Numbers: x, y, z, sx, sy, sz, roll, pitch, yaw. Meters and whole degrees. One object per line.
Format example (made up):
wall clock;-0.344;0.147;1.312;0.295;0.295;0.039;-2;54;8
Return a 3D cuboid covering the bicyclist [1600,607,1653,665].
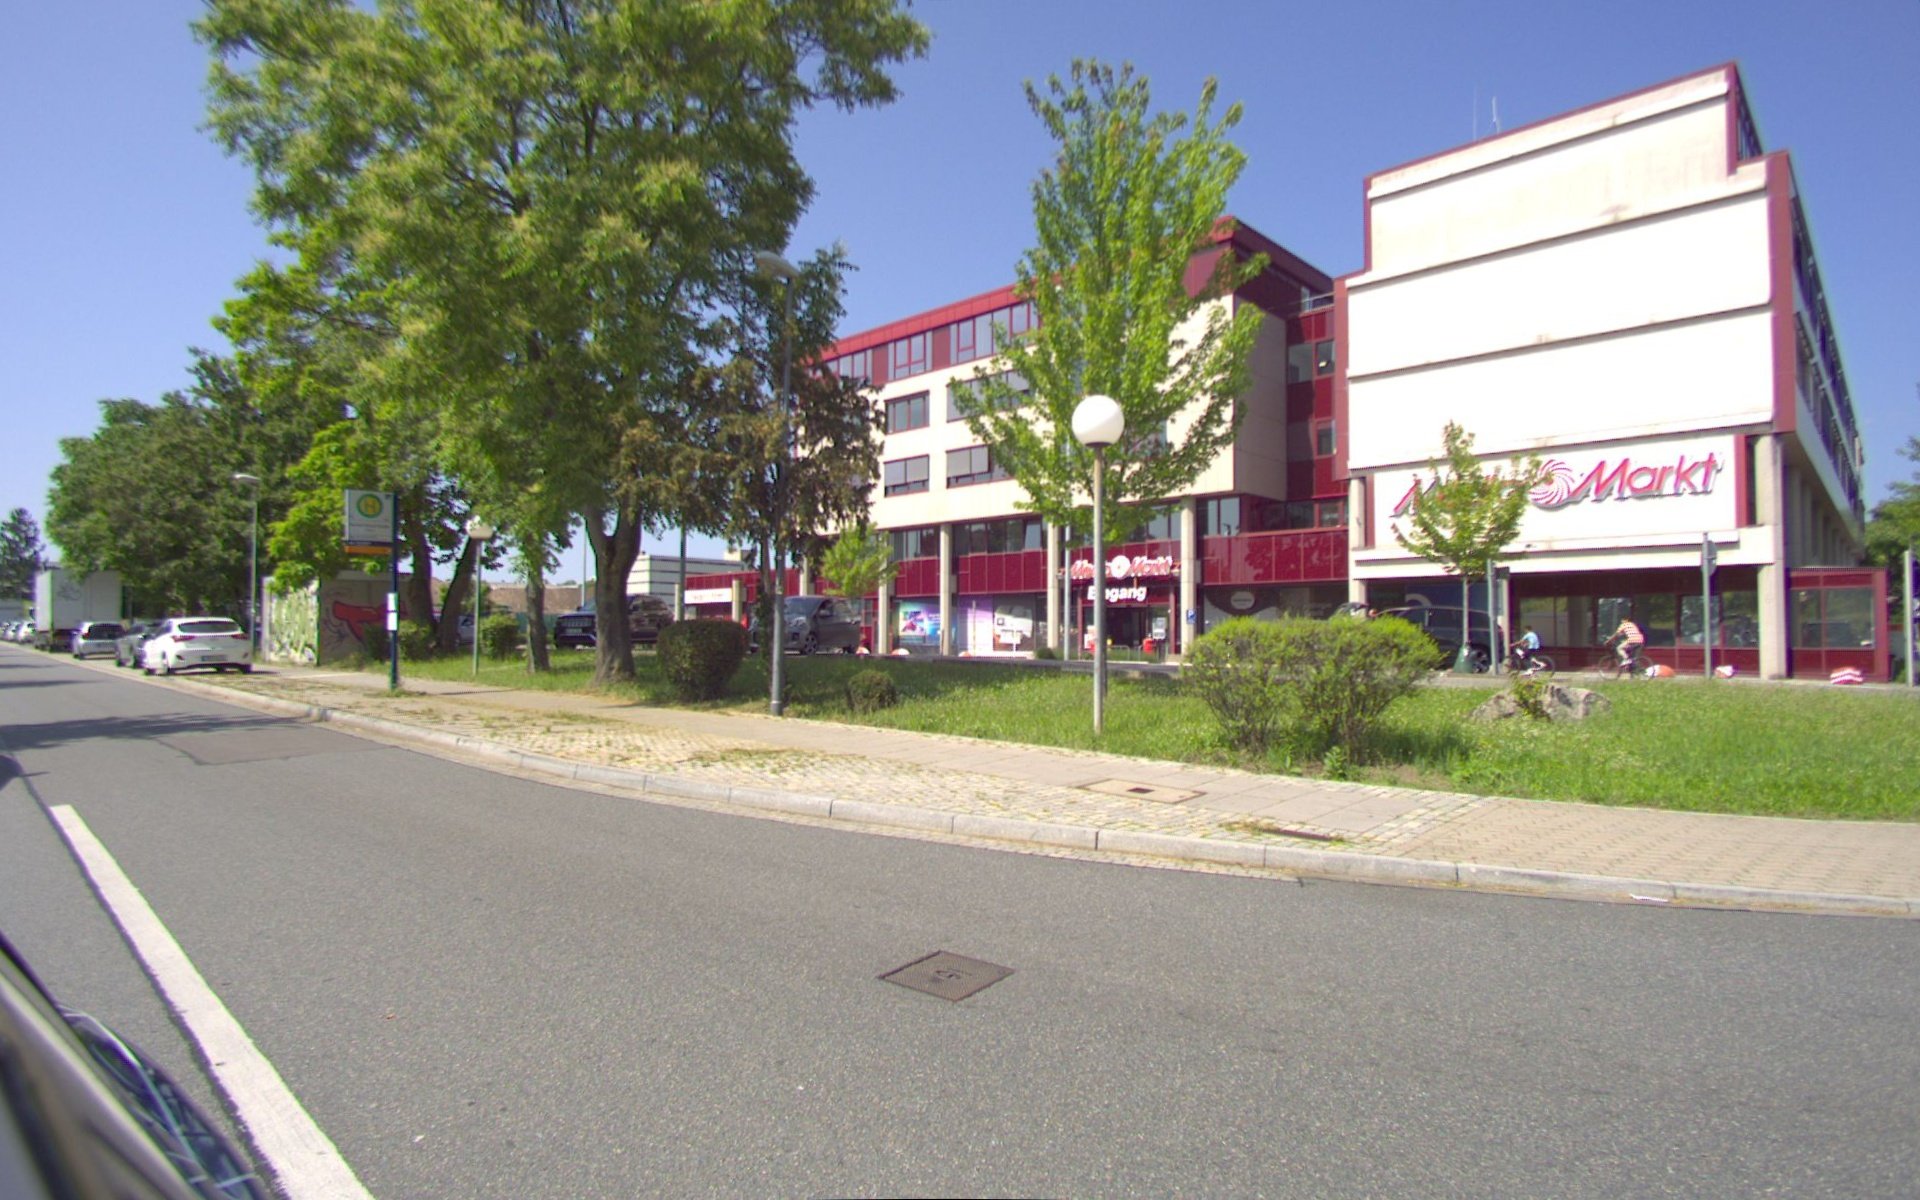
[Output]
bicyclist;17.376;0.926;26.382;0.710;1.459;0.925;0;0;-28

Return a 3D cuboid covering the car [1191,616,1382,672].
car;9.252;1.261;28.902;4.796;1.504;1.920;1;-2;-4

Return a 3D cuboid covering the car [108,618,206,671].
car;-25.000;1.355;31.468;3.999;1.527;1.790;-2;-2;43

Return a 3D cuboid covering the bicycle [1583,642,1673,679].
bicycle;17.381;1.547;26.370;0.716;0.855;1.849;0;0;-27

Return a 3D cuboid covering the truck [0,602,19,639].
truck;-88.424;1.931;93.073;2.663;3.345;7.349;2;-3;-43

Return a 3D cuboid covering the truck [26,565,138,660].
truck;-42.496;0.664;48.840;9.280;4.175;3.307;-2;-2;44

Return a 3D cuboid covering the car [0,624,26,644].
car;-77.062;2.746;82.036;1.789;1.527;4.002;0;-1;-45

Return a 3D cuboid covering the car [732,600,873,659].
car;-3.824;0.702;25.208;1.707;1.348;3.961;-1;-1;22

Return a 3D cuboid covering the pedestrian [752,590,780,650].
pedestrian;-5.030;0.516;26.226;0.555;1.539;0.759;1;-2;-25

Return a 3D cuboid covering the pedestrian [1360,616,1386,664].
pedestrian;11.969;1.154;29.325;0.455;1.366;0.523;1;-2;-20

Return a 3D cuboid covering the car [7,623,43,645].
car;-68.030;2.491;73.598;1.789;1.527;4.002;0;-1;-45

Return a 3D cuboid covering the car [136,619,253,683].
car;-19.869;1.279;26.222;4.000;1.504;1.742;-2;-1;43

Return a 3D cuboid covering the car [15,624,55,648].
car;-60.177;2.338;65.816;1.789;1.527;4.002;0;-1;-45

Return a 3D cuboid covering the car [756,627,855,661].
car;-6.750;1.927;44.553;4.177;1.462;1.724;0;-2;-4

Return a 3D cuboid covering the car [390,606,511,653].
car;-21.007;1.253;41.982;1.980;1.818;4.697;-1;-2;13

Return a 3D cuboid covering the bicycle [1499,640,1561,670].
bicycle;16.941;1.617;30.113;0.718;0.799;1.844;0;0;-3

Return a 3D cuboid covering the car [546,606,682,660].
car;-10.388;0.959;30.780;1.832;1.504;4.801;-1;-1;10

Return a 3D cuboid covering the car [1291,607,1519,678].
car;11.522;1.144;26.373;5.033;1.606;2.191;2;-4;-9

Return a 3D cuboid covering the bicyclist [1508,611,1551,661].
bicyclist;16.931;1.057;30.114;0.712;1.459;0.923;0;0;-2

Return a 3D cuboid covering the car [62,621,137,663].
car;-33.604;1.622;39.488;3.999;1.527;1.790;-2;-1;43
